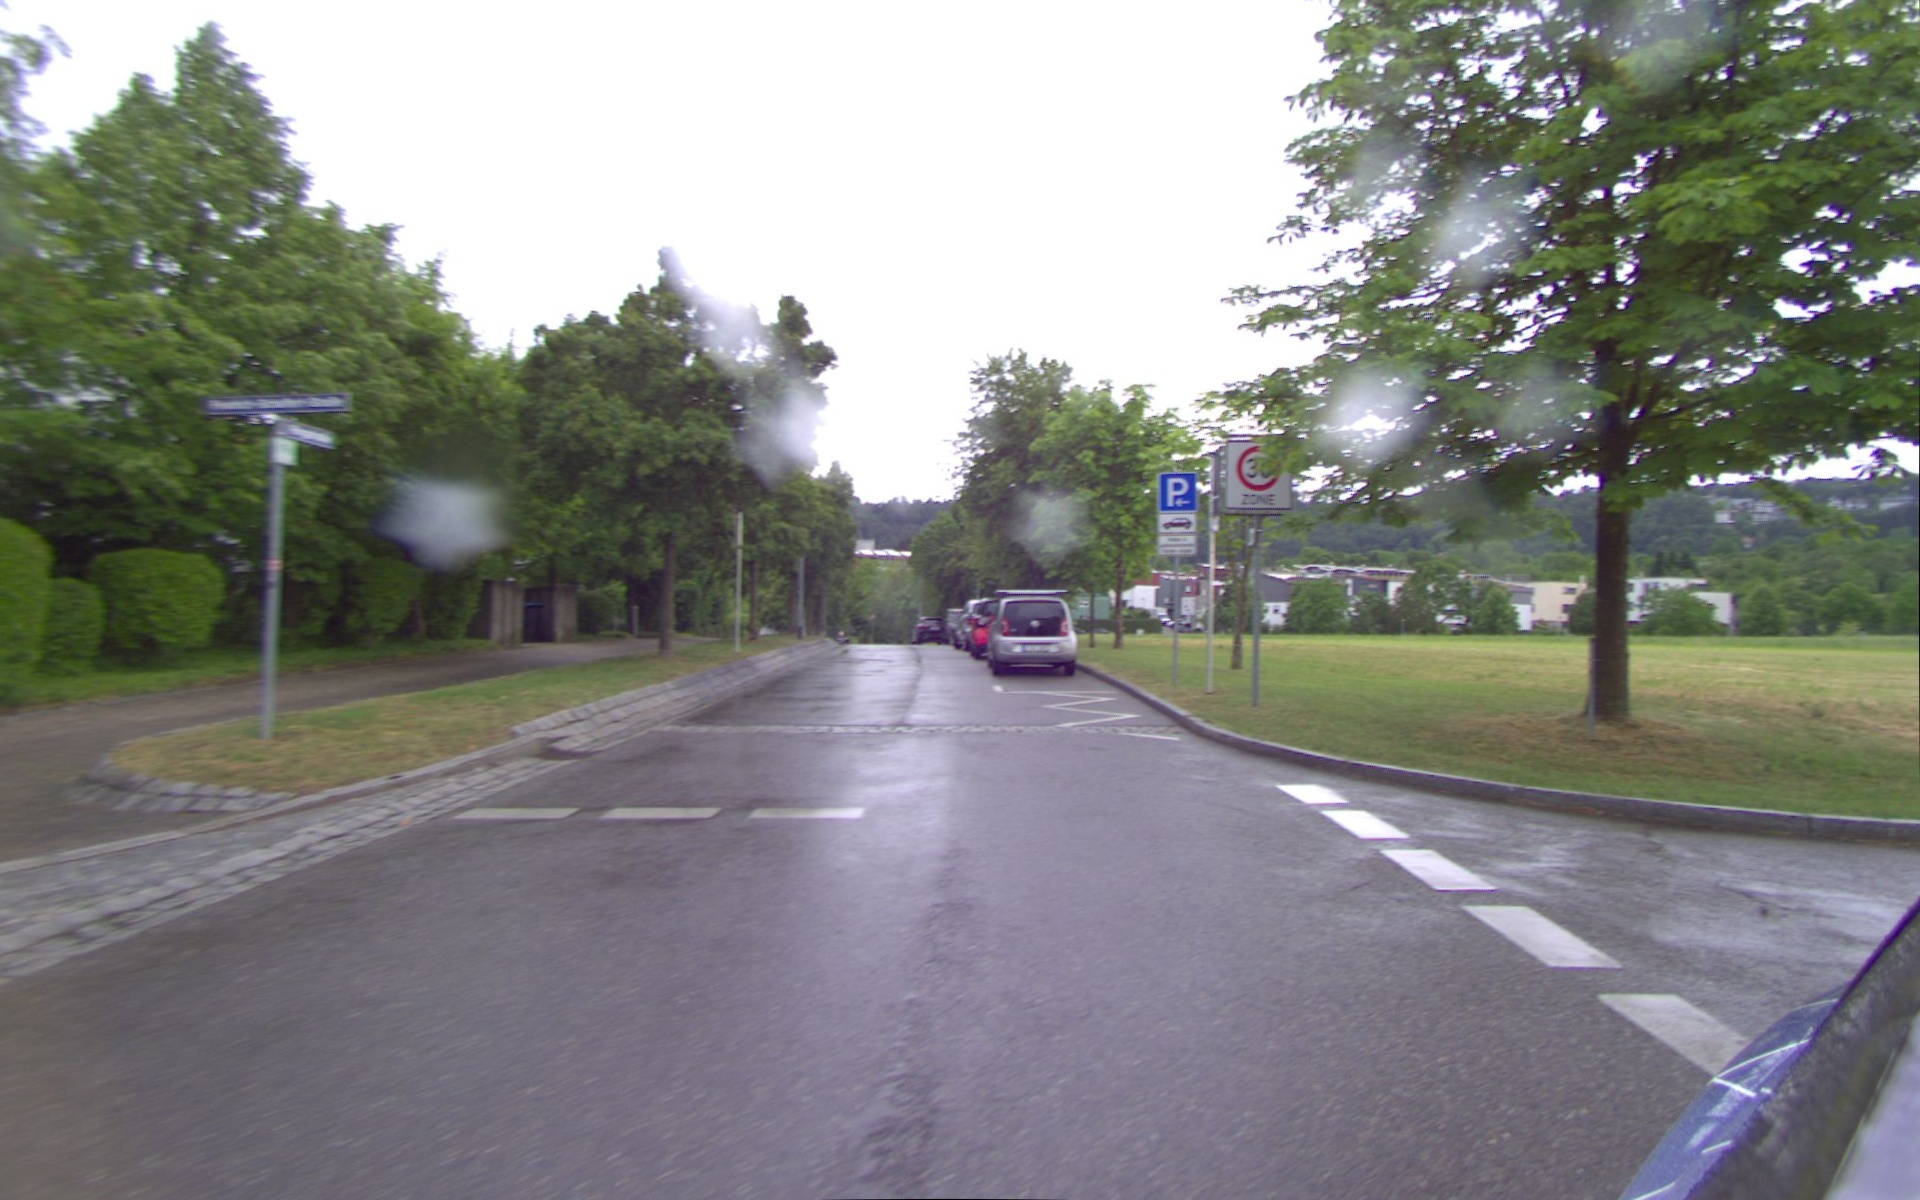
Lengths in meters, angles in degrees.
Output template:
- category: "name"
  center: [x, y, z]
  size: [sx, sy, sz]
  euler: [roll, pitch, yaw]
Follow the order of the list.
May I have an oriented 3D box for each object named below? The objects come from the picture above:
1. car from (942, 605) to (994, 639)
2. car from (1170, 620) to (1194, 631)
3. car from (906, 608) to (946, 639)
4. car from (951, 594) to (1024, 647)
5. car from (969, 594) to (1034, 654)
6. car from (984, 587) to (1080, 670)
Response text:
- category: "car"
  center: [0.286, 0.855, 40.569]
  size: [1.699, 1.297, 3.332]
  euler: [0, 0, -6]
- category: "car"
  center: [40.429, 4.601, 184.380]
  size: [3.916, 2.039, 2.004]
  euler: [0, 0, -13]
- category: "car"
  center: [-1.989, 1.382, 57.802]
  size: [1.922, 1.628, 4.003]
  euler: [0, -3, -8]
- category: "car"
  center: [0.804, 0.650, 32.165]
  size: [1.815, 1.572, 3.993]
  euler: [0, -1, -5]
- category: "car"
  center: [1.019, 0.592, 26.039]
  size: [1.524, 1.454, 3.011]
  euler: [-1, 0, 0]
- category: "car"
  center: [1.351, 0.498, 20.256]
  size: [1.648, 1.498, 3.554]
  euler: [-1, 0, 0]
